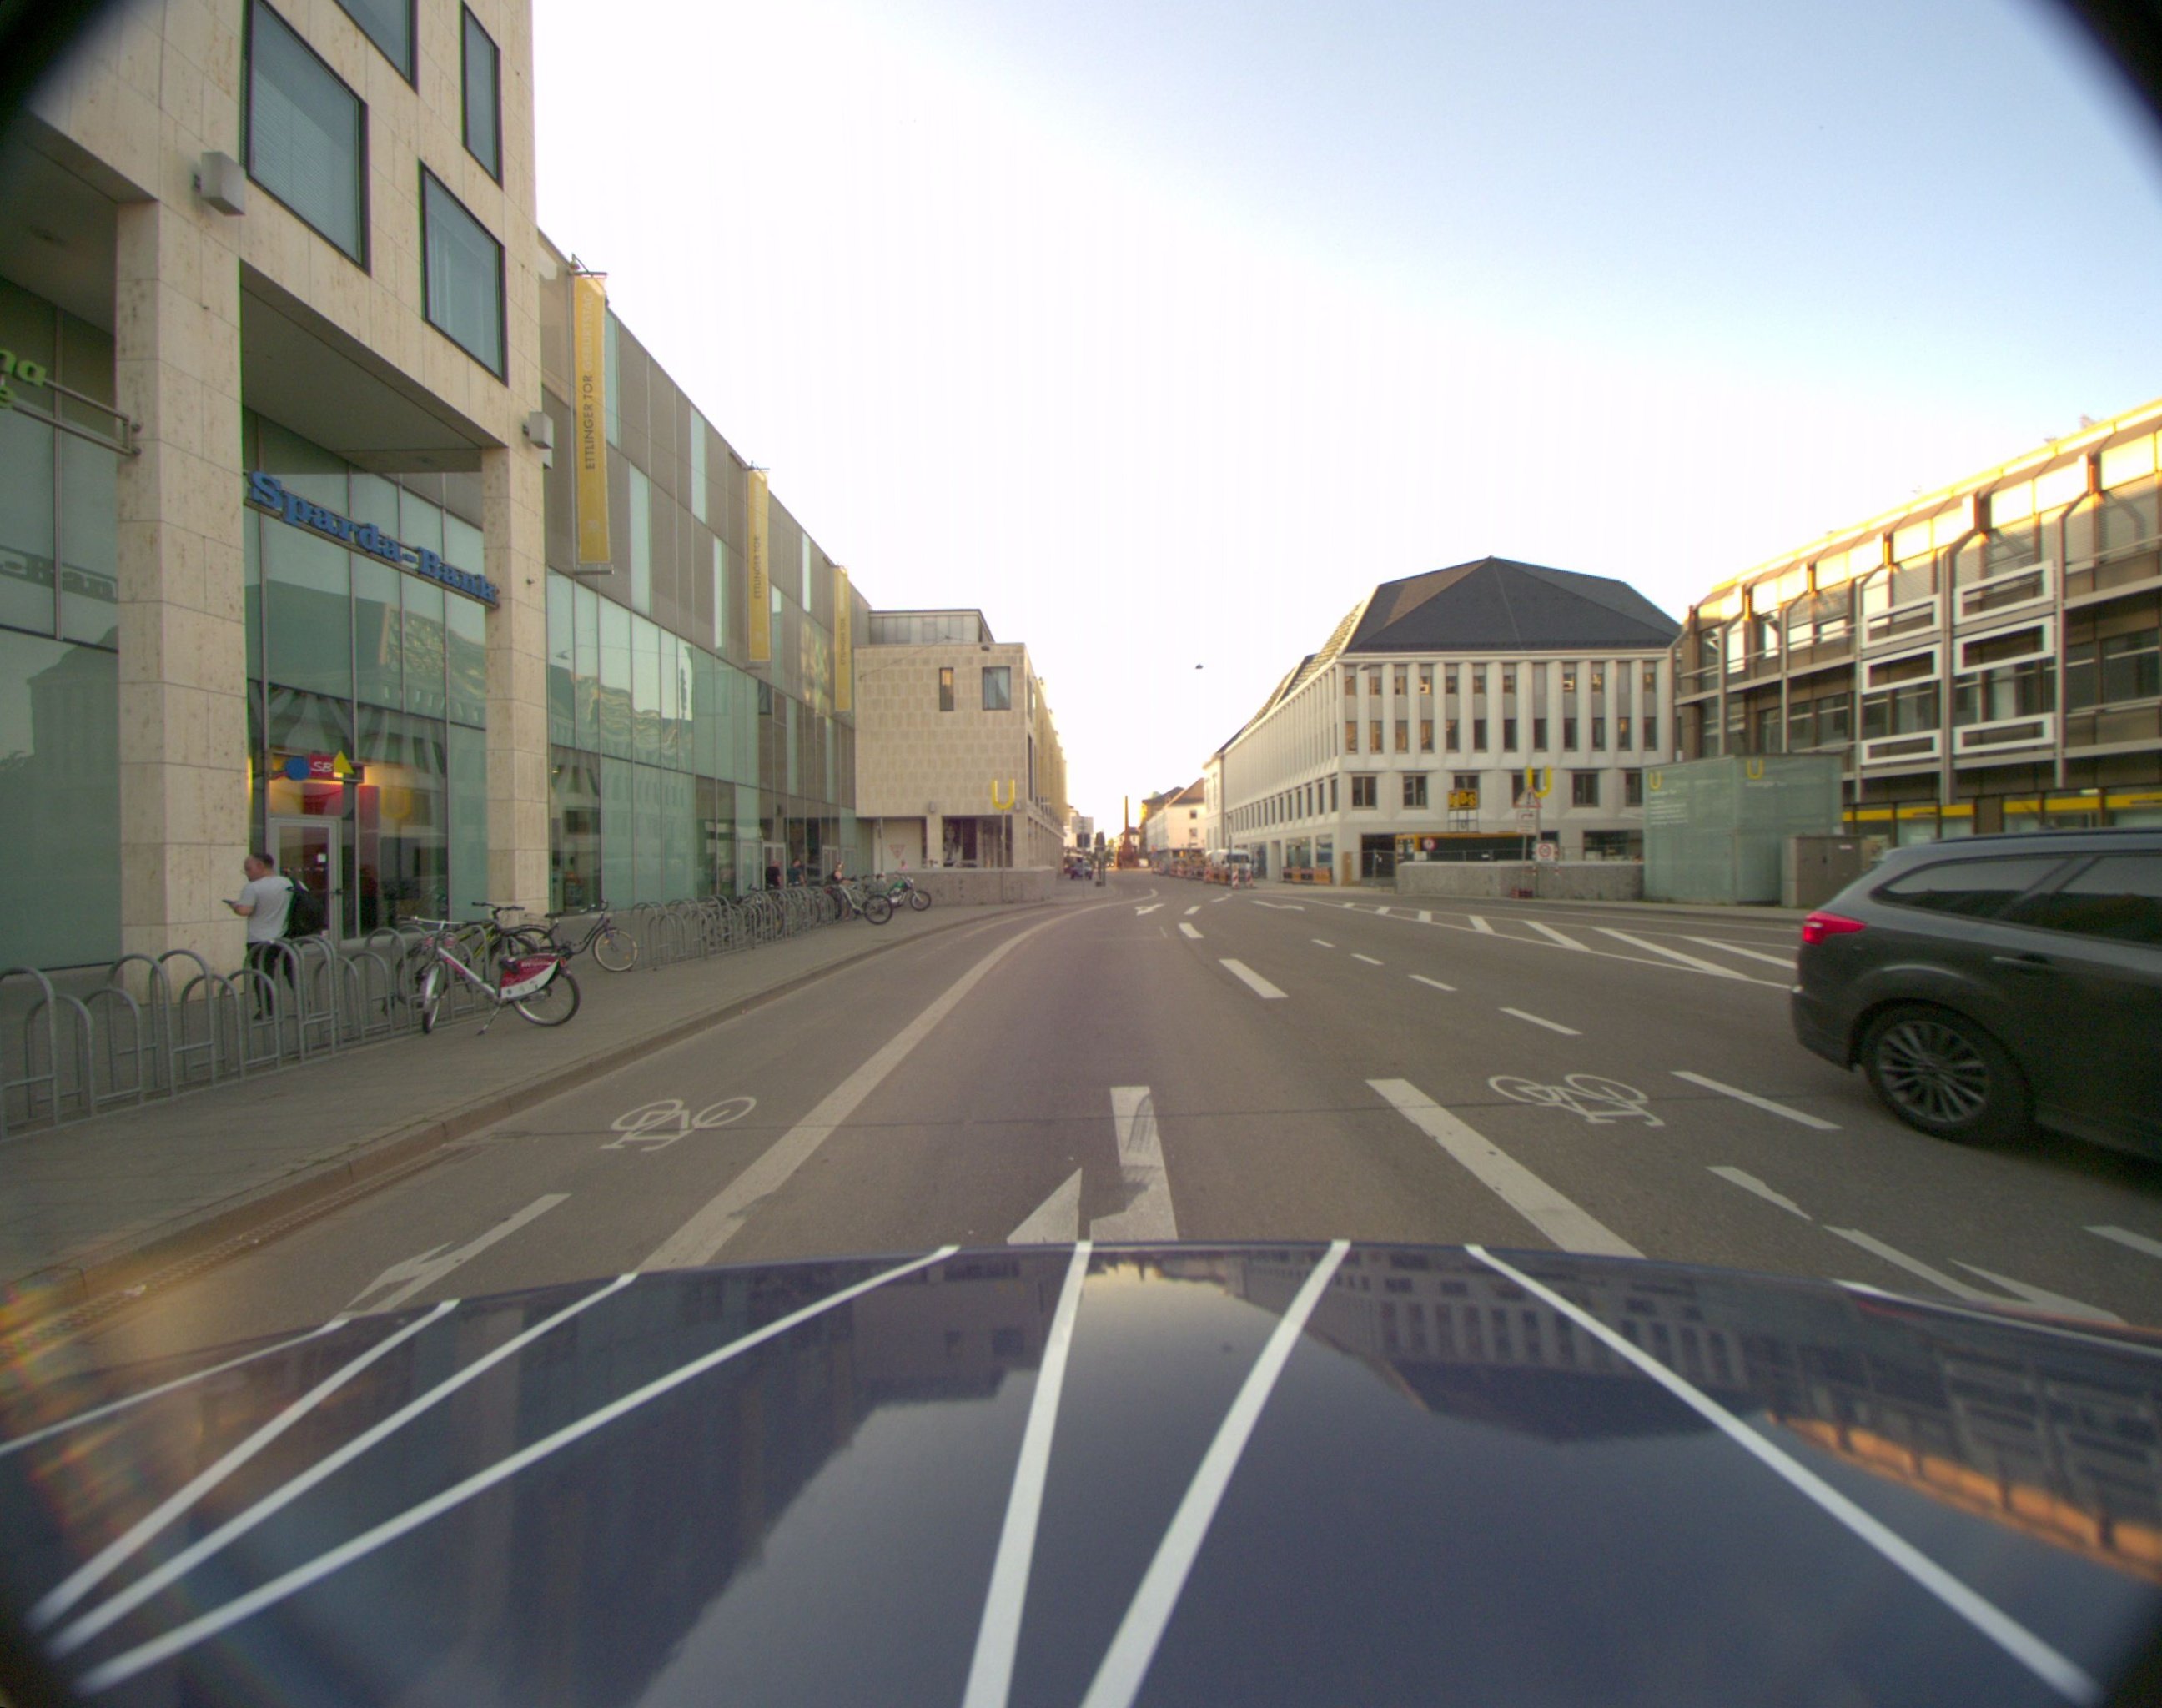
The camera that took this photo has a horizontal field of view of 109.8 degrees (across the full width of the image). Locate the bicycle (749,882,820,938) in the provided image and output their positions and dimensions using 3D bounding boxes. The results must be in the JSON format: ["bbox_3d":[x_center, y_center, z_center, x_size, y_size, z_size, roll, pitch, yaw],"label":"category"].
[{"bbox_3d":[-6.656,1.241,17.079,1.345,1.157,0.518,-3,0,-1],"label":"bicycle"}]

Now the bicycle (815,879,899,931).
[{"bbox_3d":[-5.386,1.222,18.321,1.838,1.140,0.466,-3,0,1],"label":"bicycle"}]

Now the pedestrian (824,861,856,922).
[{"bbox_3d":[-6.649,1.016,20.990,0.809,1.633,0.646,-1,0,-18],"label":"pedestrian"}]

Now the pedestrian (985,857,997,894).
[{"bbox_3d":[-4.315,1.034,36.462,0.454,1.733,0.493,-1,0,3],"label":"pedestrian"}]

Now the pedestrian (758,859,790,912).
[{"bbox_3d":[-9.631,0.968,23.866,0.741,1.638,0.820,-1,0,-7],"label":"pedestrian"}]

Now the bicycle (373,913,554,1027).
[{"bbox_3d":[-6.795,1.262,8.393,1.518,1.117,0.581,-3,0,4],"label":"bicycle"}]

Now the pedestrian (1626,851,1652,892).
[{"bbox_3d":[20.554,0.654,27.987,0.532,1.487,0.555,-1,0,1],"label":"pedestrian"}]

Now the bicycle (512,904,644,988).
[{"bbox_3d":[-7.300,1.318,11.074,1.447,1.058,0.580,-3,0,-10],"label":"bicycle"}]

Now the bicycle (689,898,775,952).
[{"bbox_3d":[-6.652,1.347,14.504,1.345,0.927,0.518,-3,0,-1],"label":"bicycle"}]

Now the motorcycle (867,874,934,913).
[{"bbox_3d":[-5.707,1.245,24.086,2.007,1.217,0.480,-1,0,-2],"label":"motorcycle"}]

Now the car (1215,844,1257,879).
[{"bbox_3d":[11.990,0.592,59.164,2.141,2.540,6.050,-1,0,1],"label":"car"}]

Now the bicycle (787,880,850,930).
[{"bbox_3d":[-6.600,1.268,19.164,1.345,1.157,0.518,-3,0,-1],"label":"bicycle"}]

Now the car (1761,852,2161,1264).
[{"bbox_3d":[4.833,0.744,2.206,1.762,1.454,4.380,-2,0,0],"label":"car"}]

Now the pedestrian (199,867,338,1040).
[{"bbox_3d":[-8.265,0.982,7.755,0.707,1.682,0.629,-1,0,0],"label":"pedestrian"}]

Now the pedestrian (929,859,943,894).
[{"bbox_3d":[-7.162,1.106,37.549,0.494,1.733,0.657,-1,0,3],"label":"pedestrian"}]

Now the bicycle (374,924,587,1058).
[{"bbox_3d":[-5.395,1.223,6.868,1.518,1.057,0.466,-3,0,1],"label":"bicycle"}]

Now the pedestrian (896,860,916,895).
[{"bbox_3d":[-8.601,1.155,37.417,0.793,1.733,0.657,-1,0,3],"label":"pedestrian"}]

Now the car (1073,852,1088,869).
[{"bbox_3d":[-0.077,0.844,100.145,1.798,2.198,3.671,-1,0,2],"label":"car"}]

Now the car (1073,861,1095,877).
[{"bbox_3d":[0.334,1.298,67.706,1.798,1.365,3.671,-1,0,2],"label":"car"}]

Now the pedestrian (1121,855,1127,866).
[{"bbox_3d":[6.086,0.953,108.392,0.692,1.628,0.597,-1,0,16],"label":"pedestrian"}]

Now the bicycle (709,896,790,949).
[{"bbox_3d":[-6.593,1.356,15.150,1.345,0.927,0.518,-3,0,-1],"label":"bicycle"}]

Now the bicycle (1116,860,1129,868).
[{"bbox_3d":[5.969,1.416,108.410,1.770,1.036,0.599,-2,1,17],"label":"bicycle"}]

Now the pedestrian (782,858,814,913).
[{"bbox_3d":[-8.819,0.956,23.710,0.698,1.686,0.820,-1,0,-5],"label":"pedestrian"}]

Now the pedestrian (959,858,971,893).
[{"bbox_3d":[-5.777,1.076,37.870,0.504,1.733,0.493,-1,0,3],"label":"pedestrian"}]
